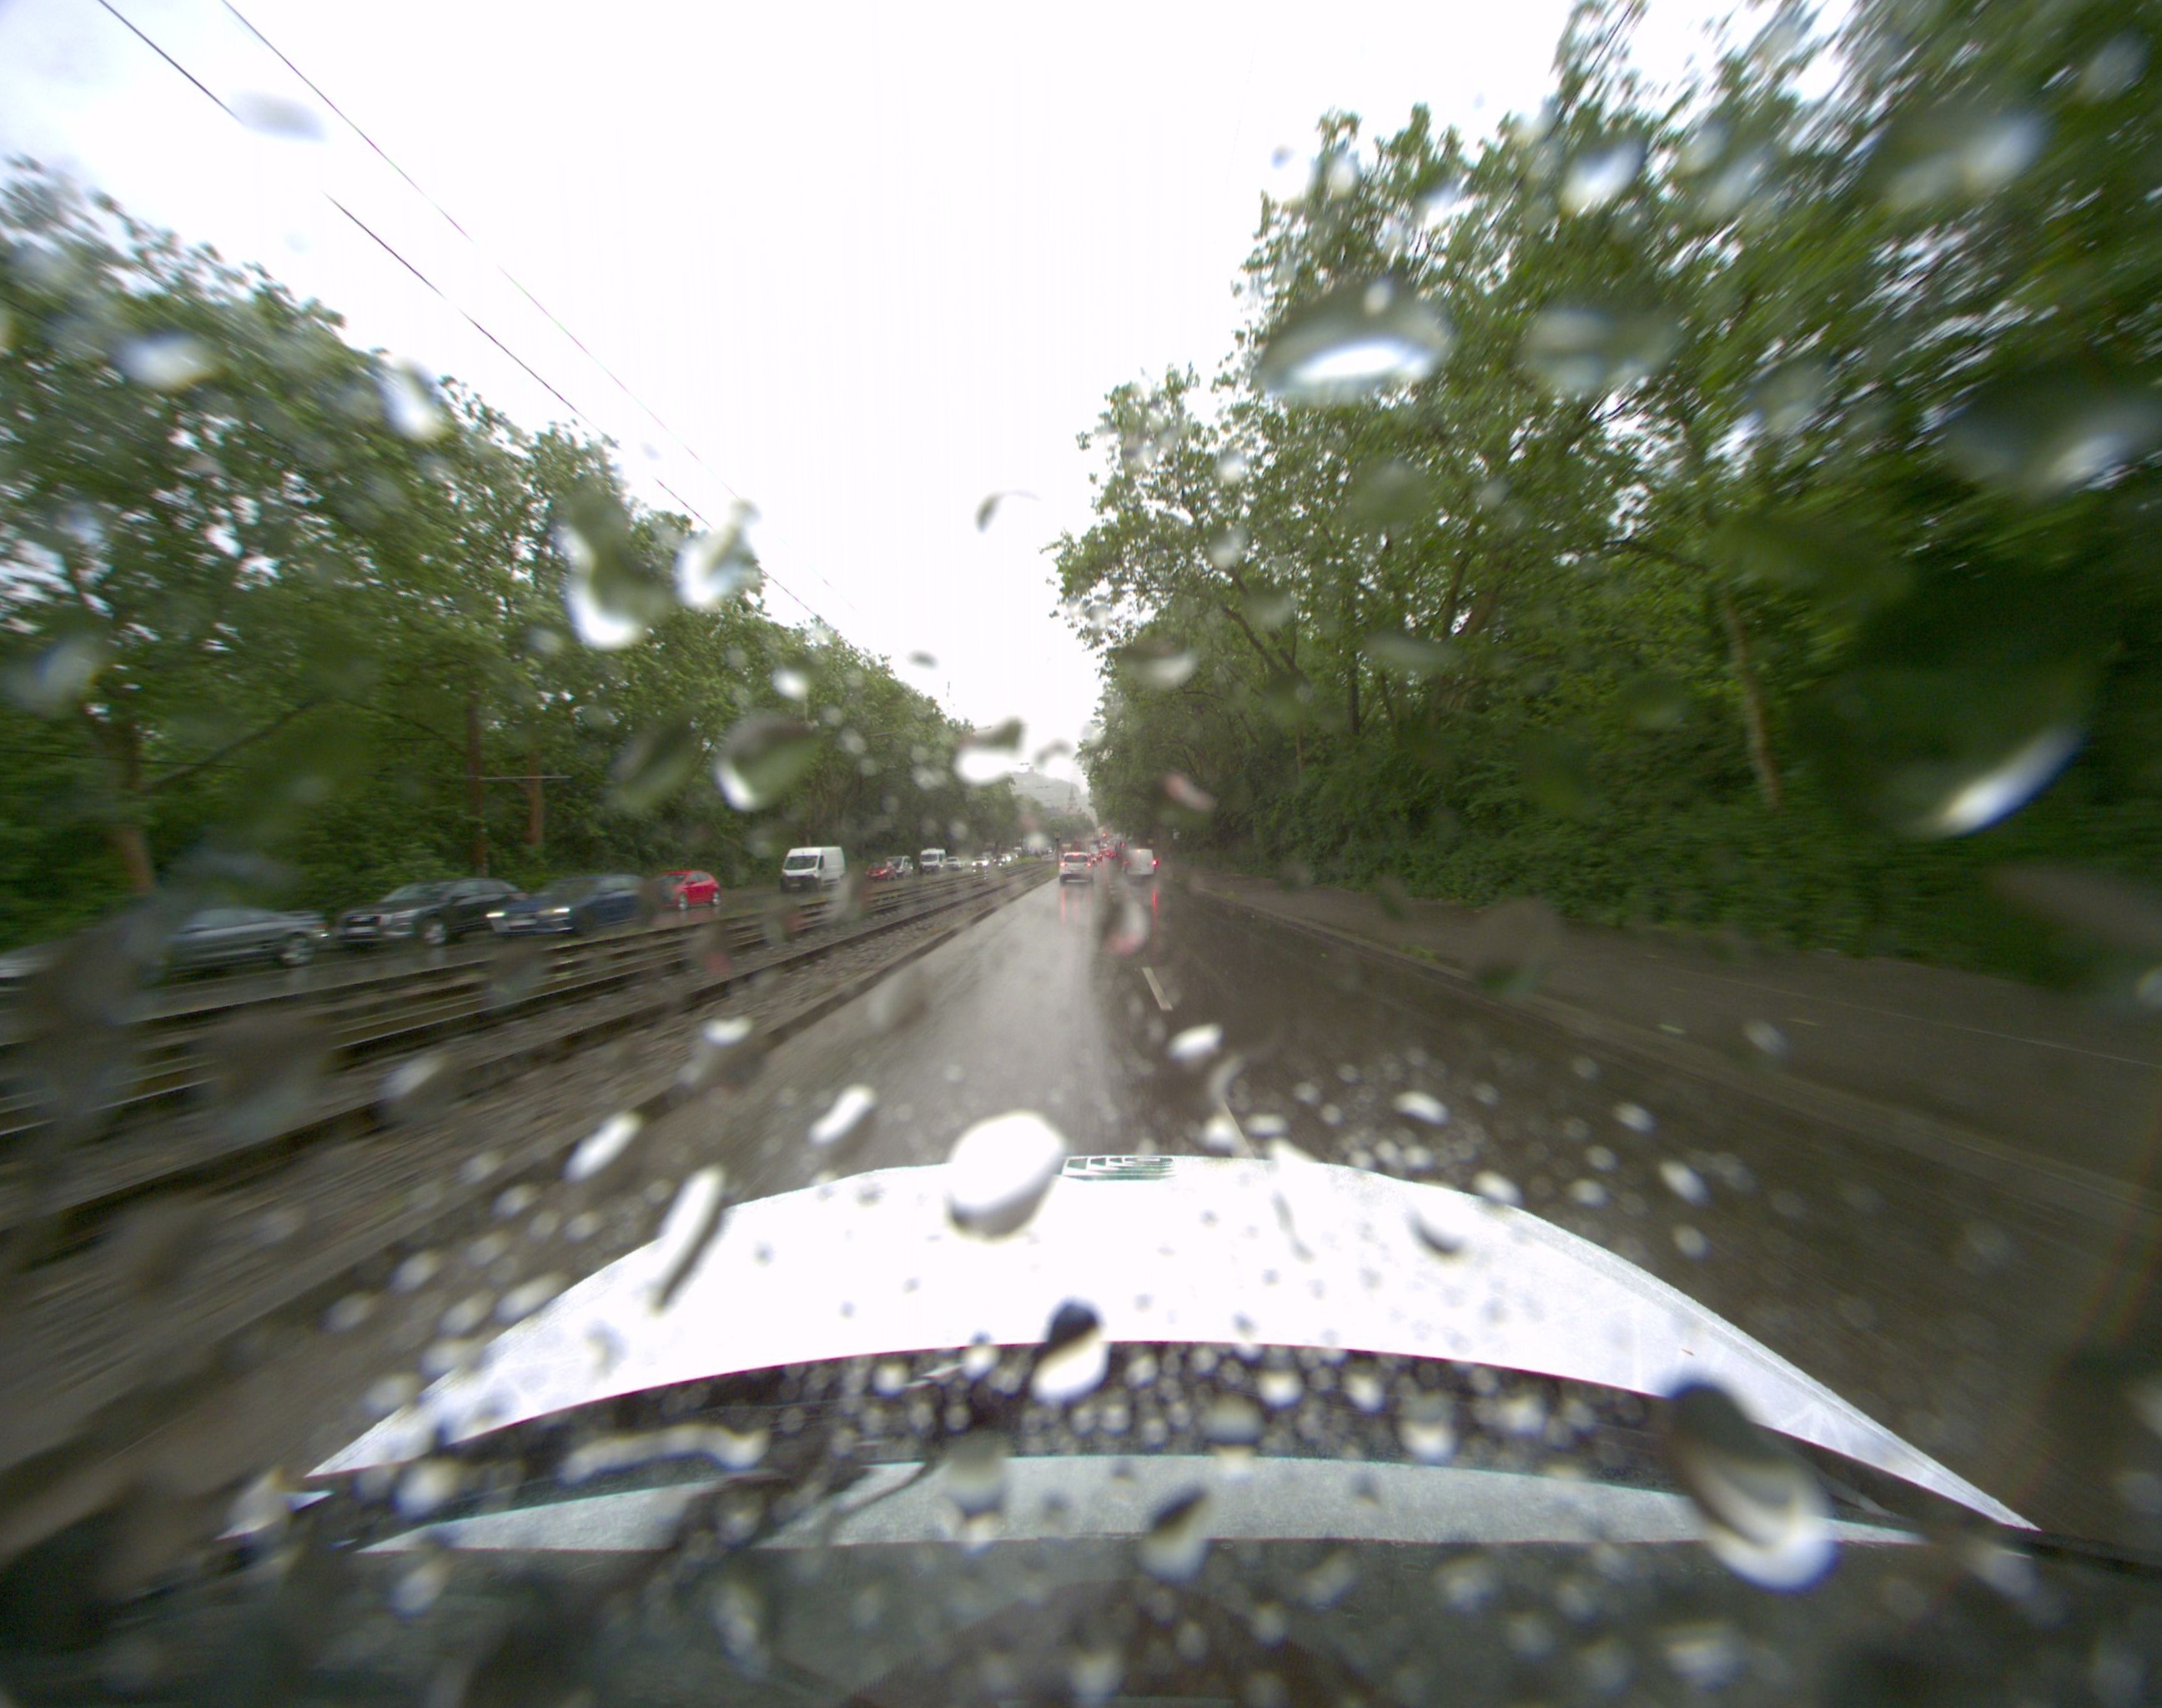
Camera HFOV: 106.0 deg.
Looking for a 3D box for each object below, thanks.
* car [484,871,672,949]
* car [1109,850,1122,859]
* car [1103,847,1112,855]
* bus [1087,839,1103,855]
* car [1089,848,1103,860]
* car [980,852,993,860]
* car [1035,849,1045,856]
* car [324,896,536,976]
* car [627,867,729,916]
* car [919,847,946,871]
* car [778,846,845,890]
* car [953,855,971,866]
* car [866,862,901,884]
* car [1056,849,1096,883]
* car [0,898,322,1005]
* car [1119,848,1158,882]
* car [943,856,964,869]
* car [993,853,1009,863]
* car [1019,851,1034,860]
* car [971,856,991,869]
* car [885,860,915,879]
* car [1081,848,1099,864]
[{"bbox_3d":[-12.061,1.254,19.966,1.500,1.400,4.709,-3,1,1],"label":"car"},{"bbox_3d":[5.245,0.047,124.709,1.985,1.321,4.003,0,1,2],"label":"car"},{"bbox_3d":[5.920,-0.704,181.557,1.985,1.826,4.003,0,1,2],"label":"car"},{"bbox_3d":[3.399,-1.707,192.761,3.376,3.836,9.746,0,1,3],"label":"bus"},{"bbox_3d":[2.406,-0.084,129.724,1.985,1.826,4.003,0,1,2],"label":"car"},{"bbox_3d":[-17.087,0.384,147.532,1.799,1.350,4.264,-3,1,0],"label":"car"},{"bbox_3d":[-8.548,-0.294,168.743,1.799,1.350,4.264,-3,1,0],"label":"car"},{"bbox_3d":[-14.928,1.806,19.013,1.500,1.292,4.096,-3,1,1],"label":"car"},{"bbox_3d":[-15.050,1.354,30.670,1.604,1.442,4.262,-3,1,1],"label":"car"},{"bbox_3d":[-14.970,0.446,82.292,1.794,2.221,4.277,-3,1,0],"label":"car"},{"bbox_3d":[-14.991,0.689,45.692,1.736,2.169,5.812,-3,1,-1],"label":"car"},{"bbox_3d":[-16.890,0.965,115.839,1.799,1.350,4.264,-3,1,0],"label":"car"},{"bbox_3d":[-14.870,1.402,61.460,1.501,1.350,4.027,-3,1,1],"label":"car"},{"bbox_3d":[-0.248,0.616,44.651,1.985,1.716,4.003,0,1,2],"label":"car"},{"bbox_3d":[-15.016,1.499,13.389,1.501,1.172,3.713,-3,1,0],"label":"car"},{"bbox_3d":[3.073,0.569,44.278,1.985,1.726,4.003,0,1,2],"label":"car"},{"bbox_3d":[-15.387,0.988,98.268,1.799,1.350,4.264,-3,1,0],"label":"car"},{"bbox_3d":[-12.175,0.613,123.954,1.799,1.350,4.264,-3,1,0],"label":"car"},{"bbox_3d":[-9.606,0.218,143.926,1.794,1.350,4.275,-3,1,9],"label":"car"},{"bbox_3d":[-11.814,0.955,96.318,1.799,1.350,4.264,-3,1,0],"label":"car"},{"bbox_3d":[-14.948,1.283,67.363,1.501,1.350,4.027,-3,1,1],"label":"car"},{"bbox_3d":[1.065,0.200,93.034,1.985,1.826,4.003,0,1,2],"label":"car"}]
